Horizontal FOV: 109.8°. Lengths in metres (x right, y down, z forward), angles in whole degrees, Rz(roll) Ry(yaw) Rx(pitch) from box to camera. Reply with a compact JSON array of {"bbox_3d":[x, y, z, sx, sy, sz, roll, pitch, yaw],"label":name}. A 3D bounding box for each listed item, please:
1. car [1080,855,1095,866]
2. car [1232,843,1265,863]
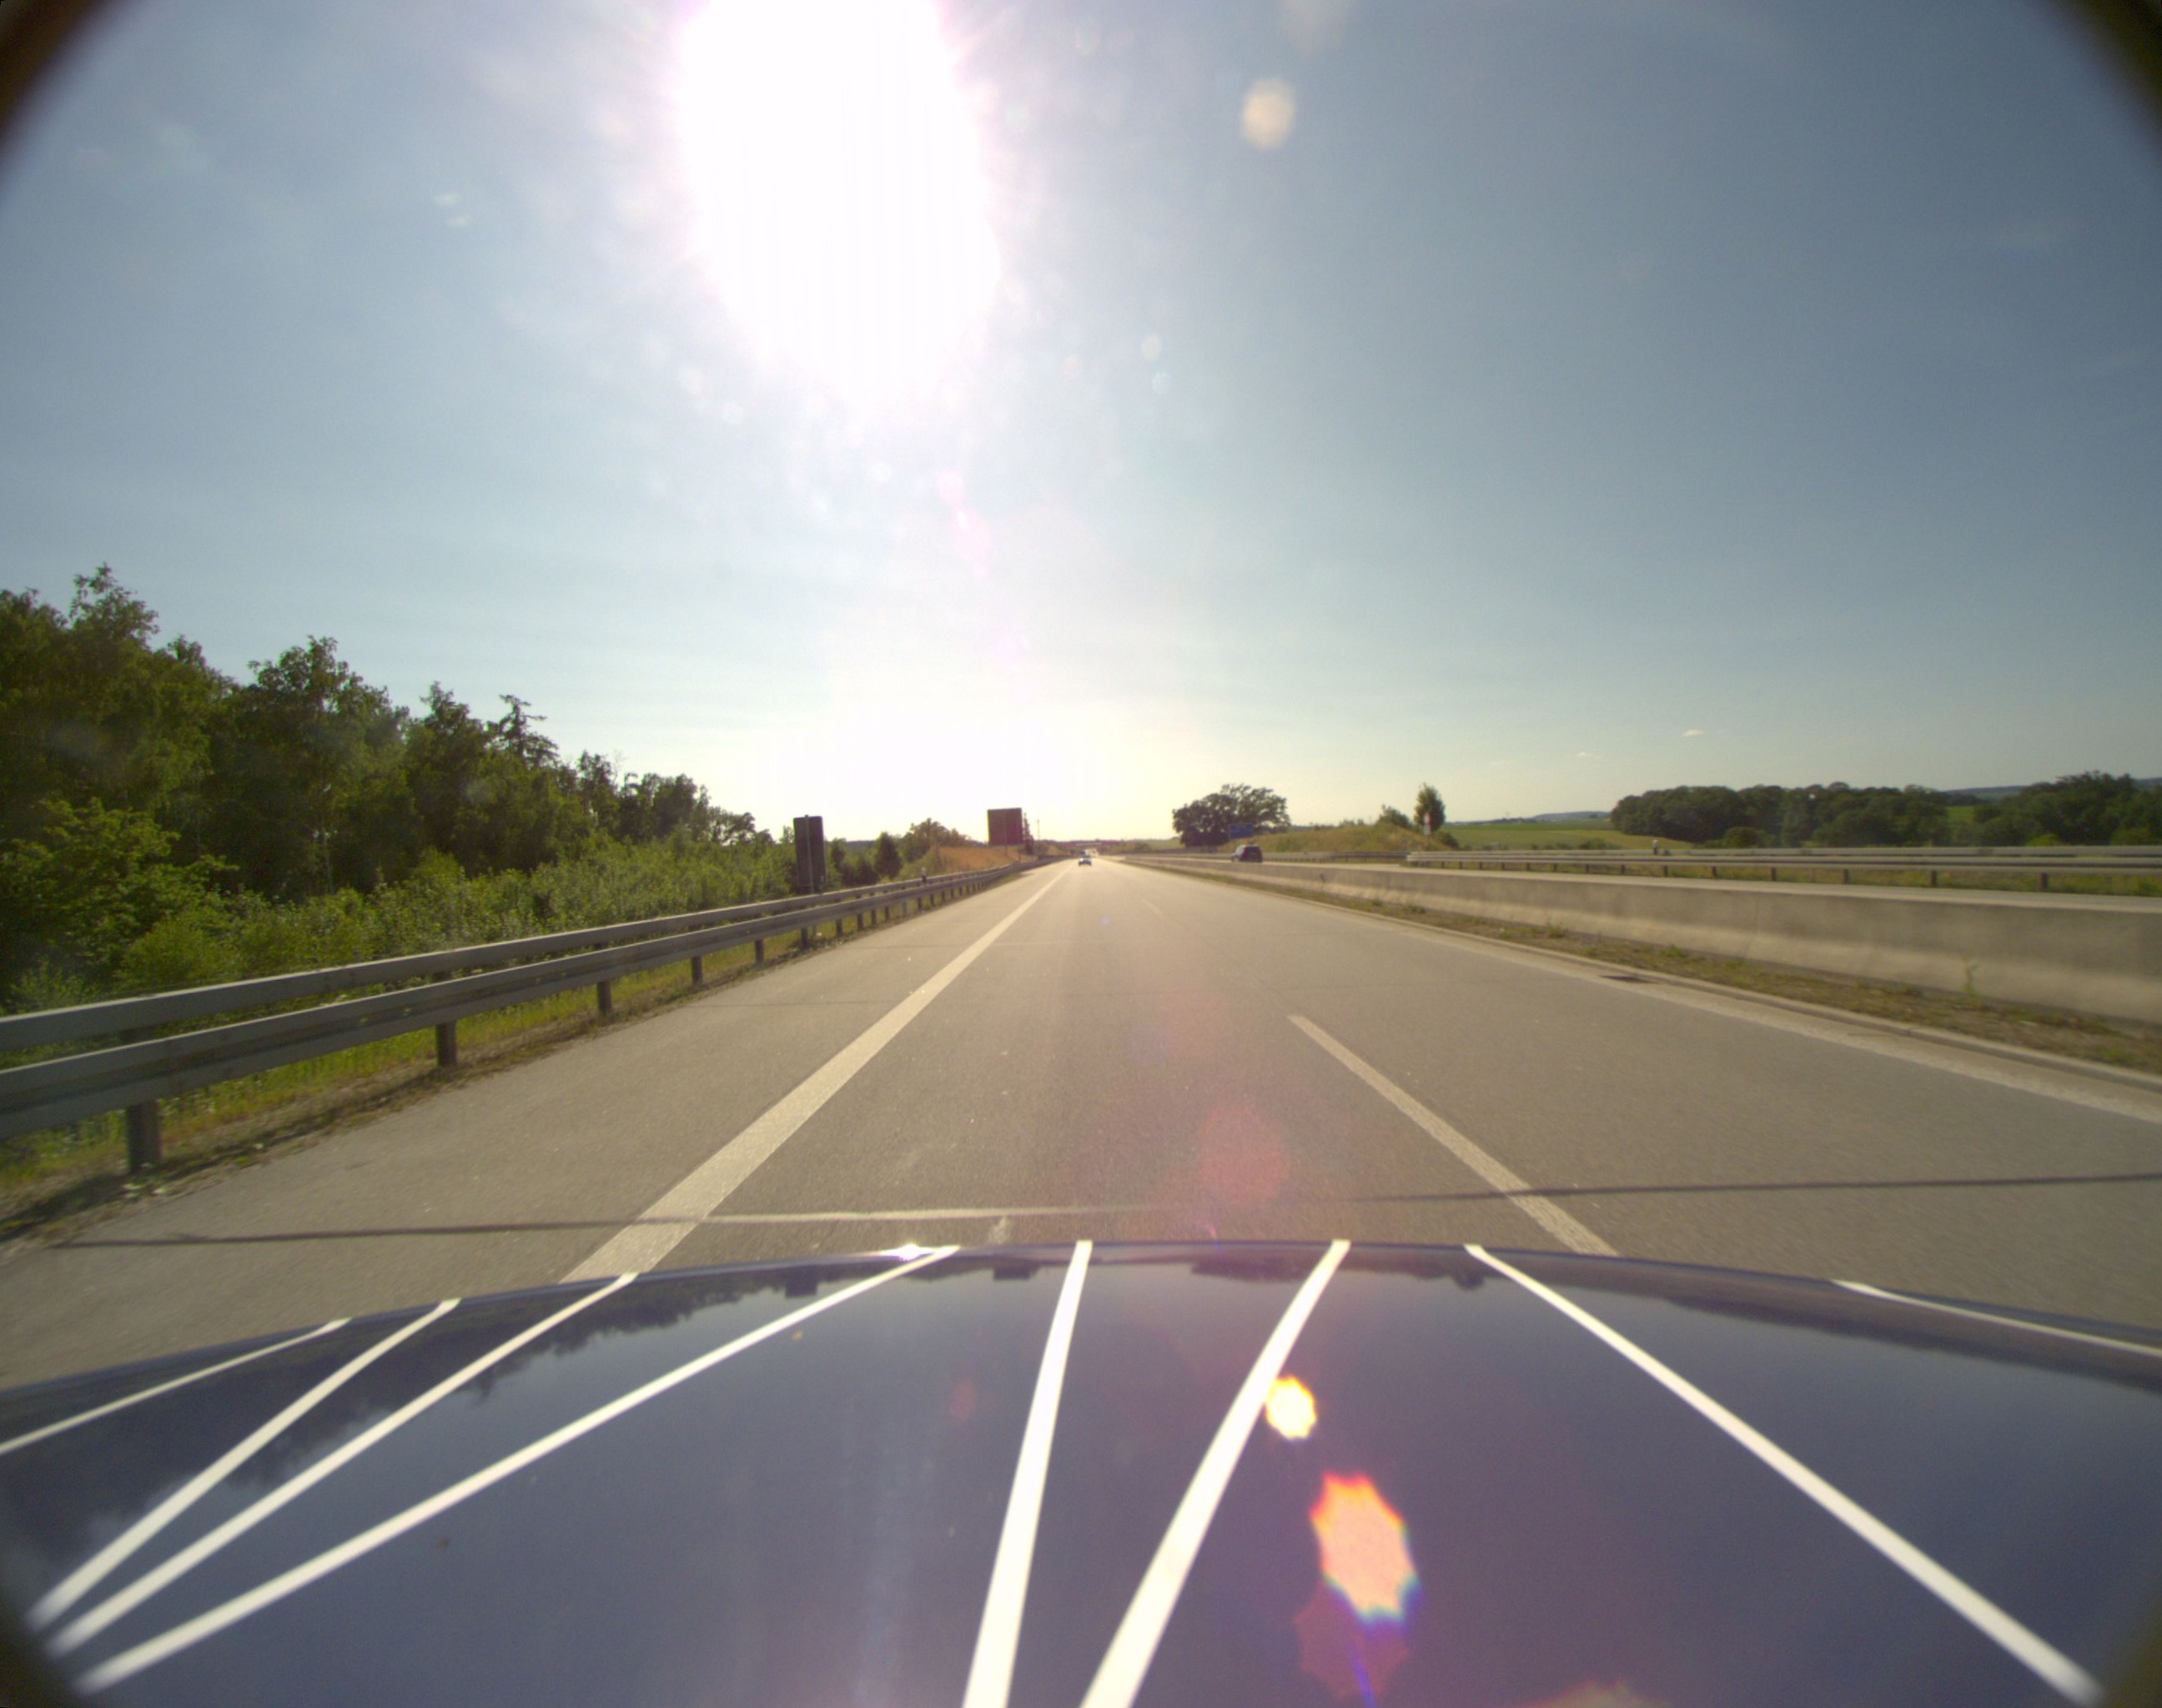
[{"bbox_3d":[0.976,0.857,108.097,1.909,1.449,4.376,-2,0,2],"label":"car"},{"bbox_3d":[14.436,-0.095,65.778,1.906,1.682,4.269,-2,0,0],"label":"car"}]
